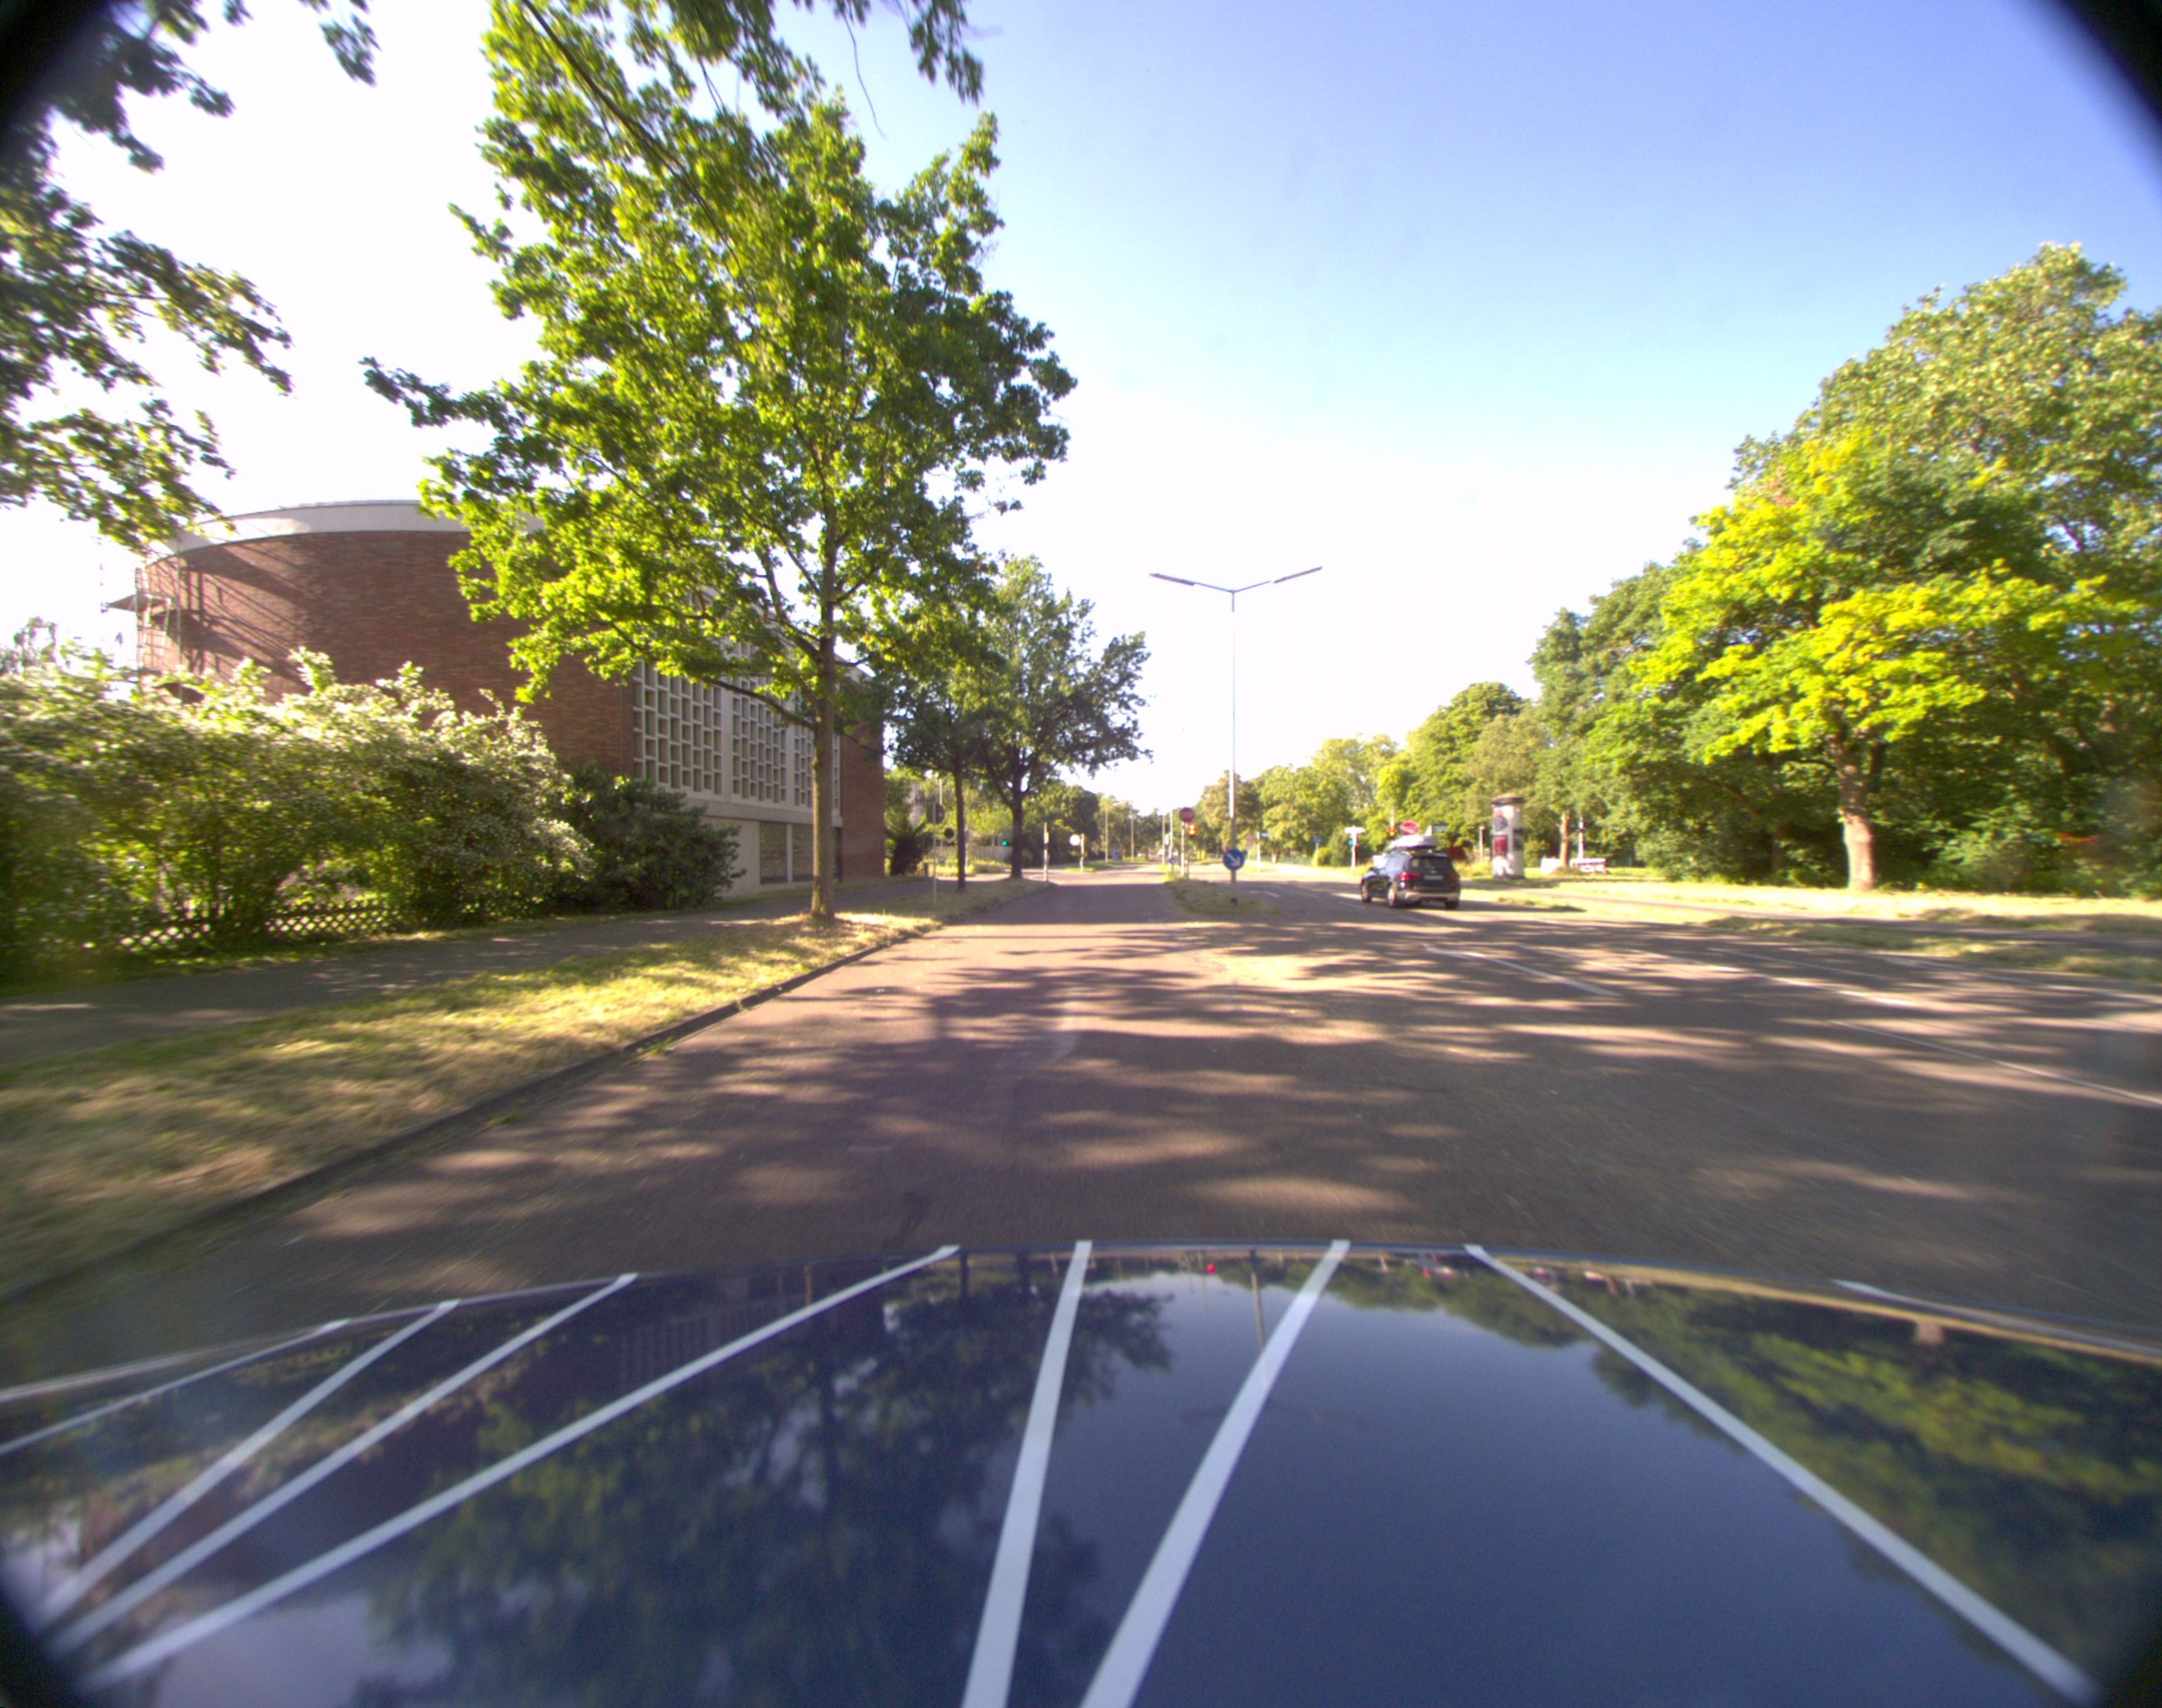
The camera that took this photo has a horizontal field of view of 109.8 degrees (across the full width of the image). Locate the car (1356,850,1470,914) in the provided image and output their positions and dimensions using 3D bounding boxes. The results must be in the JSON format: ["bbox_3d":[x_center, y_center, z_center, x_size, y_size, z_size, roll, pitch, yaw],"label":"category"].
[{"bbox_3d":[9.915,0.758,23.088,1.843,1.698,4.506,1,1,5],"label":"car"}]

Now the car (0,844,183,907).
[{"bbox_3d":[-37.075,0.698,27.610,2.299,2.002,5.266,0,2,8],"label":"car"}]
